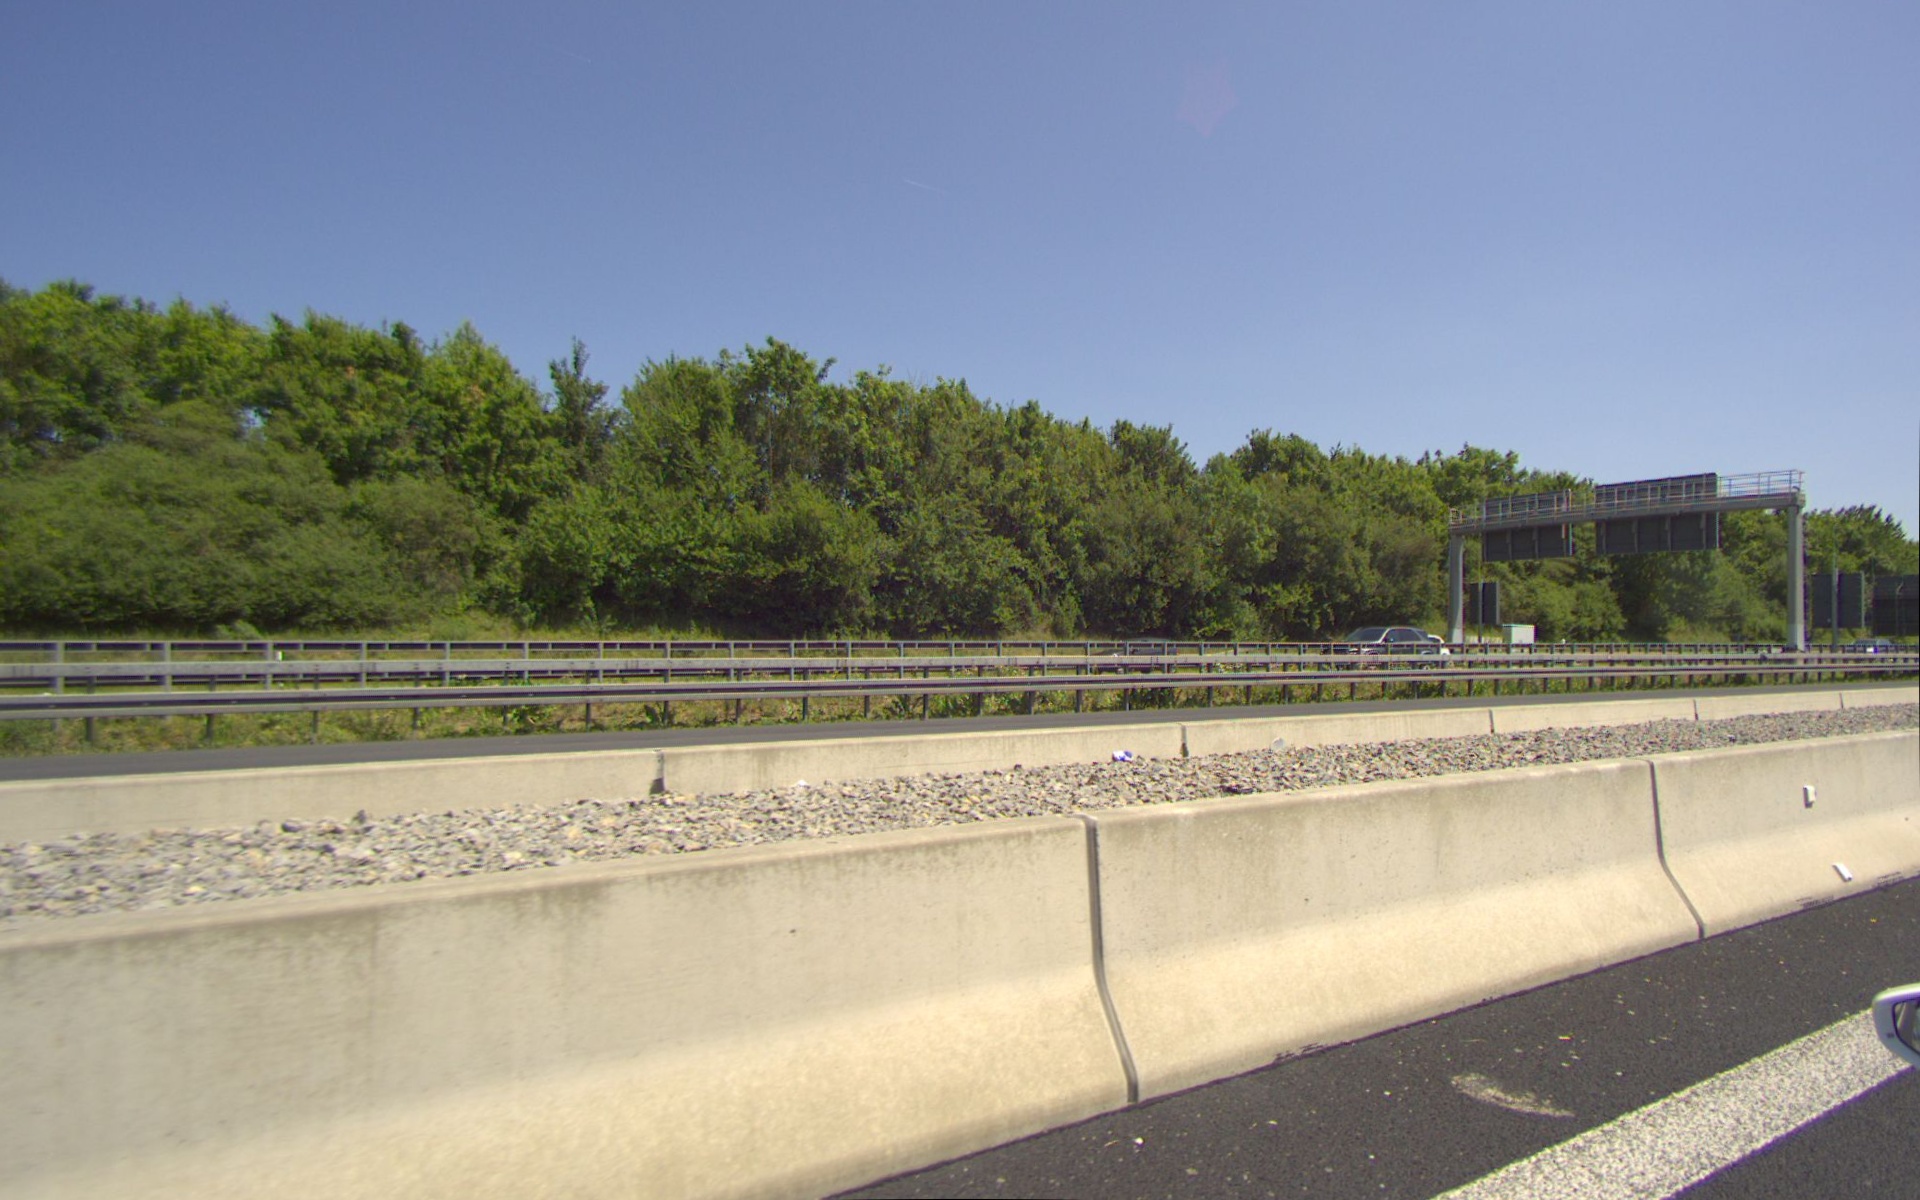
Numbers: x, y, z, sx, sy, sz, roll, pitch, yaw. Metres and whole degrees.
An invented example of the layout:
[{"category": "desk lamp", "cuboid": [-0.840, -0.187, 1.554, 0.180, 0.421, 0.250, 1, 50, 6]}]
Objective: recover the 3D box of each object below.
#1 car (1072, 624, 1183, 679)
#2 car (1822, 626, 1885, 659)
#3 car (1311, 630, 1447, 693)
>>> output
[{"category": "car", "cuboid": [6.663, 2.039, 39.988, 3.971, 2.040, 1.938, 2, 0, -28]}, {"category": "car", "cuboid": [59.140, 2.801, 66.455, 3.954, 2.040, 1.984, 2, 0, -31]}, {"category": "car", "cuboid": [15.016, 2.192, 35.978, 4.705, 2.040, 1.938, 2, 0, -28]}]
